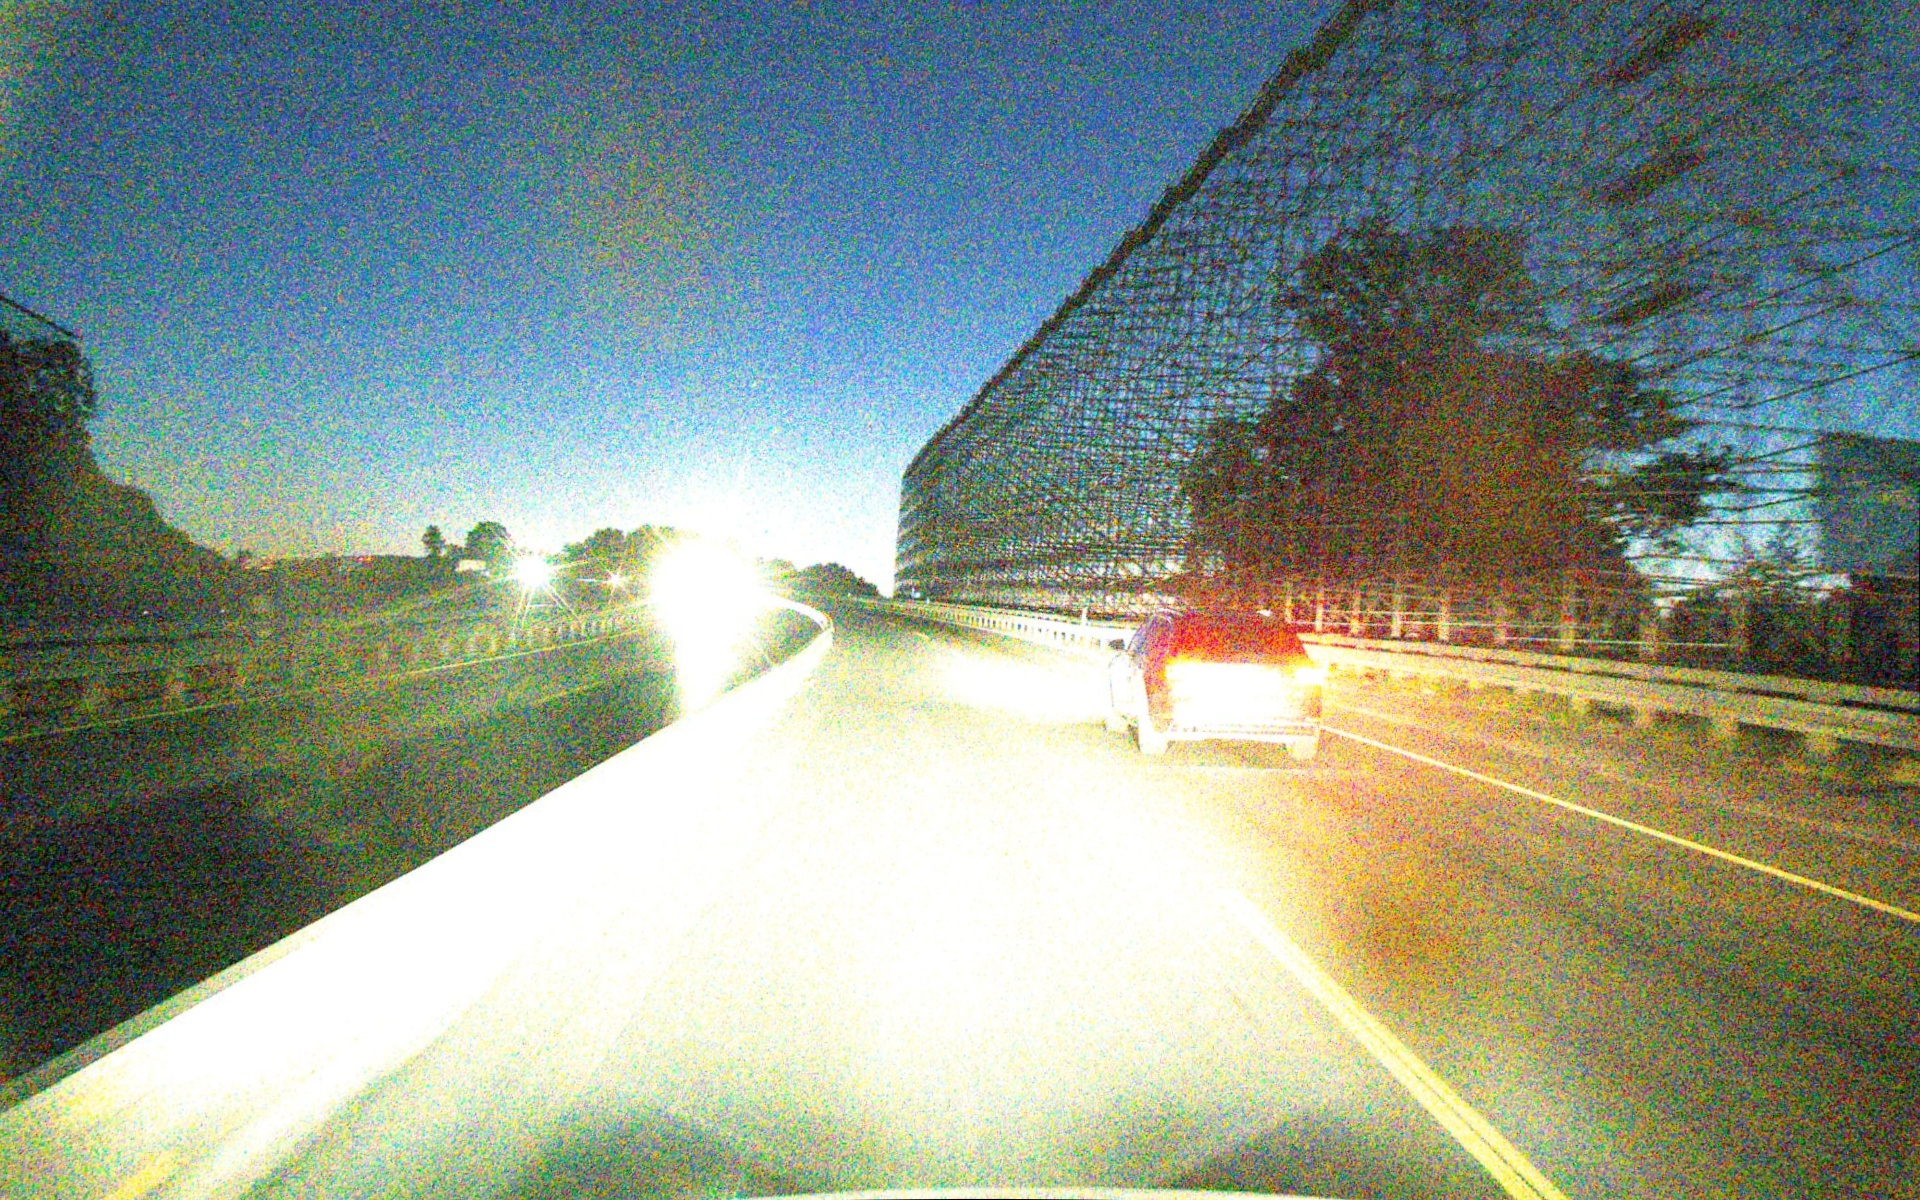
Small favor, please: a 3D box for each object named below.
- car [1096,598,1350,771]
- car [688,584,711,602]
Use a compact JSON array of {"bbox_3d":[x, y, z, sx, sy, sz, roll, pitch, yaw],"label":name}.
[{"bbox_3d":[2.640,0.779,17.773,1.772,1.451,4.873,1,2,-2],"label":"car"},{"bbox_3d":[-25.700,-0.664,163.125,1.977,1.668,4.849,1,0,-11],"label":"car"}]
